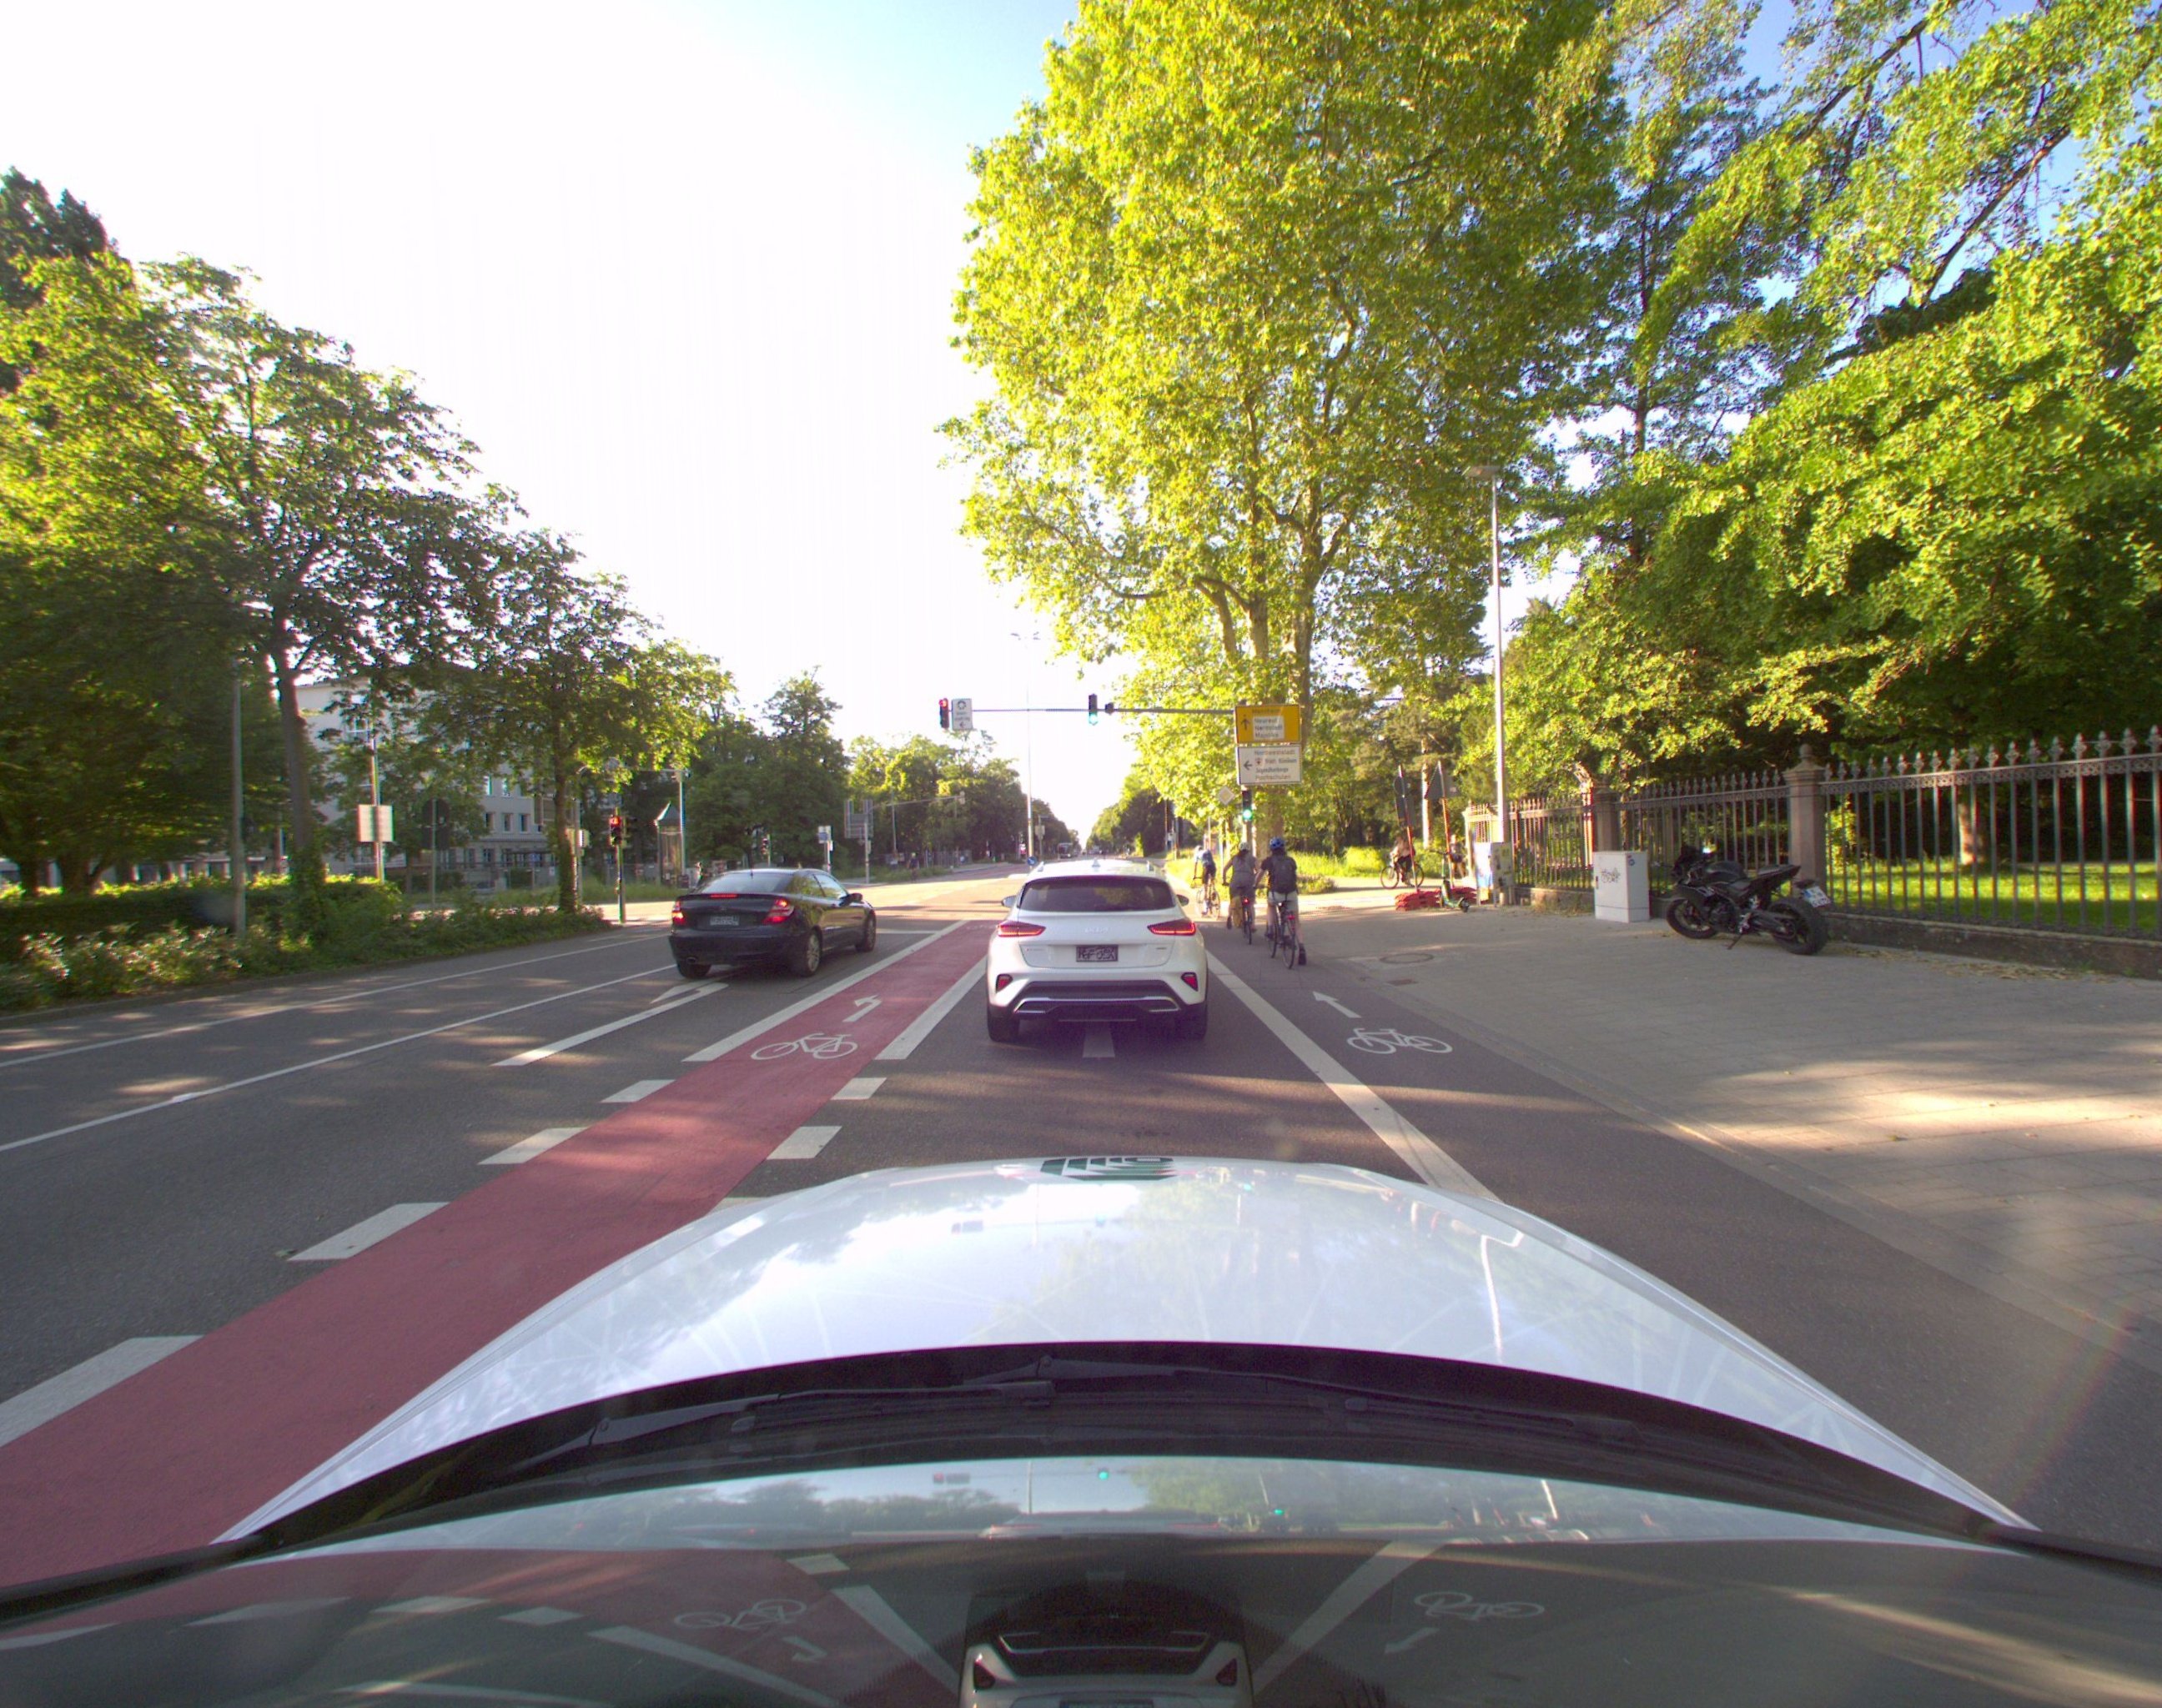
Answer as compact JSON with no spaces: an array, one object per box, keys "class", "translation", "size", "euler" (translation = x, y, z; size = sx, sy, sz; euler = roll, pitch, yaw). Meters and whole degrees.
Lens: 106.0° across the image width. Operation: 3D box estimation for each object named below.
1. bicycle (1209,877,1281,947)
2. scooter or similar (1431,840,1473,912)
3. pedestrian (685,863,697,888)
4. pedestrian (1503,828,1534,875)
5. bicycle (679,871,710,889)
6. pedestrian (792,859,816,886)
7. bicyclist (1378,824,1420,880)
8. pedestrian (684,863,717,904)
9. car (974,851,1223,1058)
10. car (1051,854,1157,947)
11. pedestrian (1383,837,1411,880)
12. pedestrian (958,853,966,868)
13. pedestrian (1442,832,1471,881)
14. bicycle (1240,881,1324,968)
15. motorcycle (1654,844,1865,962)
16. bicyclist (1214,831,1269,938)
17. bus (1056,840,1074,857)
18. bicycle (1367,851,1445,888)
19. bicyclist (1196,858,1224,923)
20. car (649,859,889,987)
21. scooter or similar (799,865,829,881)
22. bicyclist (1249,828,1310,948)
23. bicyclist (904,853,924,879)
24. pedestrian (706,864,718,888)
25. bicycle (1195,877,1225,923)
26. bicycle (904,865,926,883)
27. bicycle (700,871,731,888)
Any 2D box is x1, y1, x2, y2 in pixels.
[{"class":"bicycle","translation":[2.788,0.952,14.154],"size":[0.755,1.013,2.569],"euler":[0,0,0]},{"class":"scooter or similar","translation":[7.181,0.409,15.780],"size":[0.227,1.327,1.172],"euler":[-3,0,0]},{"class":"pedestrian","translation":[-26.238,1.466,54.757],"size":[0.628,1.642,0.444],"euler":[-1,-1,-8]},{"class":"pedestrian","translation":[16.055,-0.072,29.905],"size":[0.819,1.681,0.696],"euler":[-2,-1,15]},{"class":"bicycle","translation":[-26.081,1.747,54.957],"size":[1.859,1.148,0.442],"euler":[-1,-1,-6]},{"class":"pedestrian","translation":[-17.121,1.112,50.341],"size":[1.086,1.603,0.999],"euler":[-3,0,-5]},{"class":"bicyclist","translation":[9.550,-0.047,24.459],"size":[0.847,1.613,0.733],"euler":[-3,0,-11]},{"class":"pedestrian","translation":[-18.931,1.461,40.557],"size":[0.990,2.014,1.193],"euler":[-1,-1,7]},{"class":"car","translation":[0.151,0.737,8.019],"size":[1.815,1.480,3.936],"euler":[-1,0,0]},{"class":"car","translation":[0.391,0.788,15.497],"size":[1.723,1.483,3.516],"euler":[-3,0,0]},{"class":"pedestrian","translation":[11.505,0.166,29.633],"size":[0.810,1.518,0.922],"euler":[-1,-1,28]},{"class":"pedestrian","translation":[-13.993,0.745,95.517],"size":[0.782,1.785,0.751],"euler":[-1,-1,2]},{"class":"pedestrian","translation":[13.191,0.075,28.623],"size":[0.686,1.699,0.644],"euler":[-1,-1,1]},{"class":"bicycle","translation":[2.743,0.925,11.352],"size":[0.666,1.009,2.081],"euler":[-1,0,0]},{"class":"motorcycle","translation":[7.454,0.489,9.119],"size":[0.504,1.131,2.170],"euler":[-4,0,0]},{"class":"bicyclist","translation":[2.788,0.508,14.227],"size":[0.750,1.795,1.165],"euler":[0,0,0]},{"class":"bus","translation":[-3.629,-1.187,181.846],"size":[3.731,3.673,13.233],"euler":[-2,0,-1]},{"class":"bicycle","translation":[9.765,0.443,24.506],"size":[2.094,0.976,0.747],"euler":[-3,0,-11]},{"class":"bicyclist","translation":[3.023,0.839,19.138],"size":[0.552,1.478,0.717],"euler":[-1,-1,1]},{"class":"car","translation":[-4.247,0.846,11.905],"size":[1.698,1.405,4.266],"euler":[-3,0,2]},{"class":"scooter or similar","translation":[-18.616,1.322,56.836],"size":[0.703,1.124,1.933],"euler":[-1,-1,34]},{"class":"bicyclist","translation":[2.741,0.452,11.309],"size":[0.663,1.602,0.721],"euler":[-1,0,0]},{"class":"bicyclist","translation":[-10.502,0.747,51.250],"size":[0.871,1.608,1.189],"euler":[-3,0,4]},{"class":"pedestrian","translation":[-24.708,1.464,54.576],"size":[0.628,1.580,0.444],"euler":[-1,-1,-8]},{"class":"bicycle","translation":[3.006,1.047,19.041],"size":[0.400,0.956,1.551],"euler":[-5,0,0]},{"class":"bicycle","translation":[-10.473,1.241,51.336],"size":[0.660,0.989,2.507],"euler":[-3,0,4]},{"class":"bicycle","translation":[-24.521,1.706,54.674],"size":[1.859,1.148,0.290],"euler":[-1,-1,-6]}]
